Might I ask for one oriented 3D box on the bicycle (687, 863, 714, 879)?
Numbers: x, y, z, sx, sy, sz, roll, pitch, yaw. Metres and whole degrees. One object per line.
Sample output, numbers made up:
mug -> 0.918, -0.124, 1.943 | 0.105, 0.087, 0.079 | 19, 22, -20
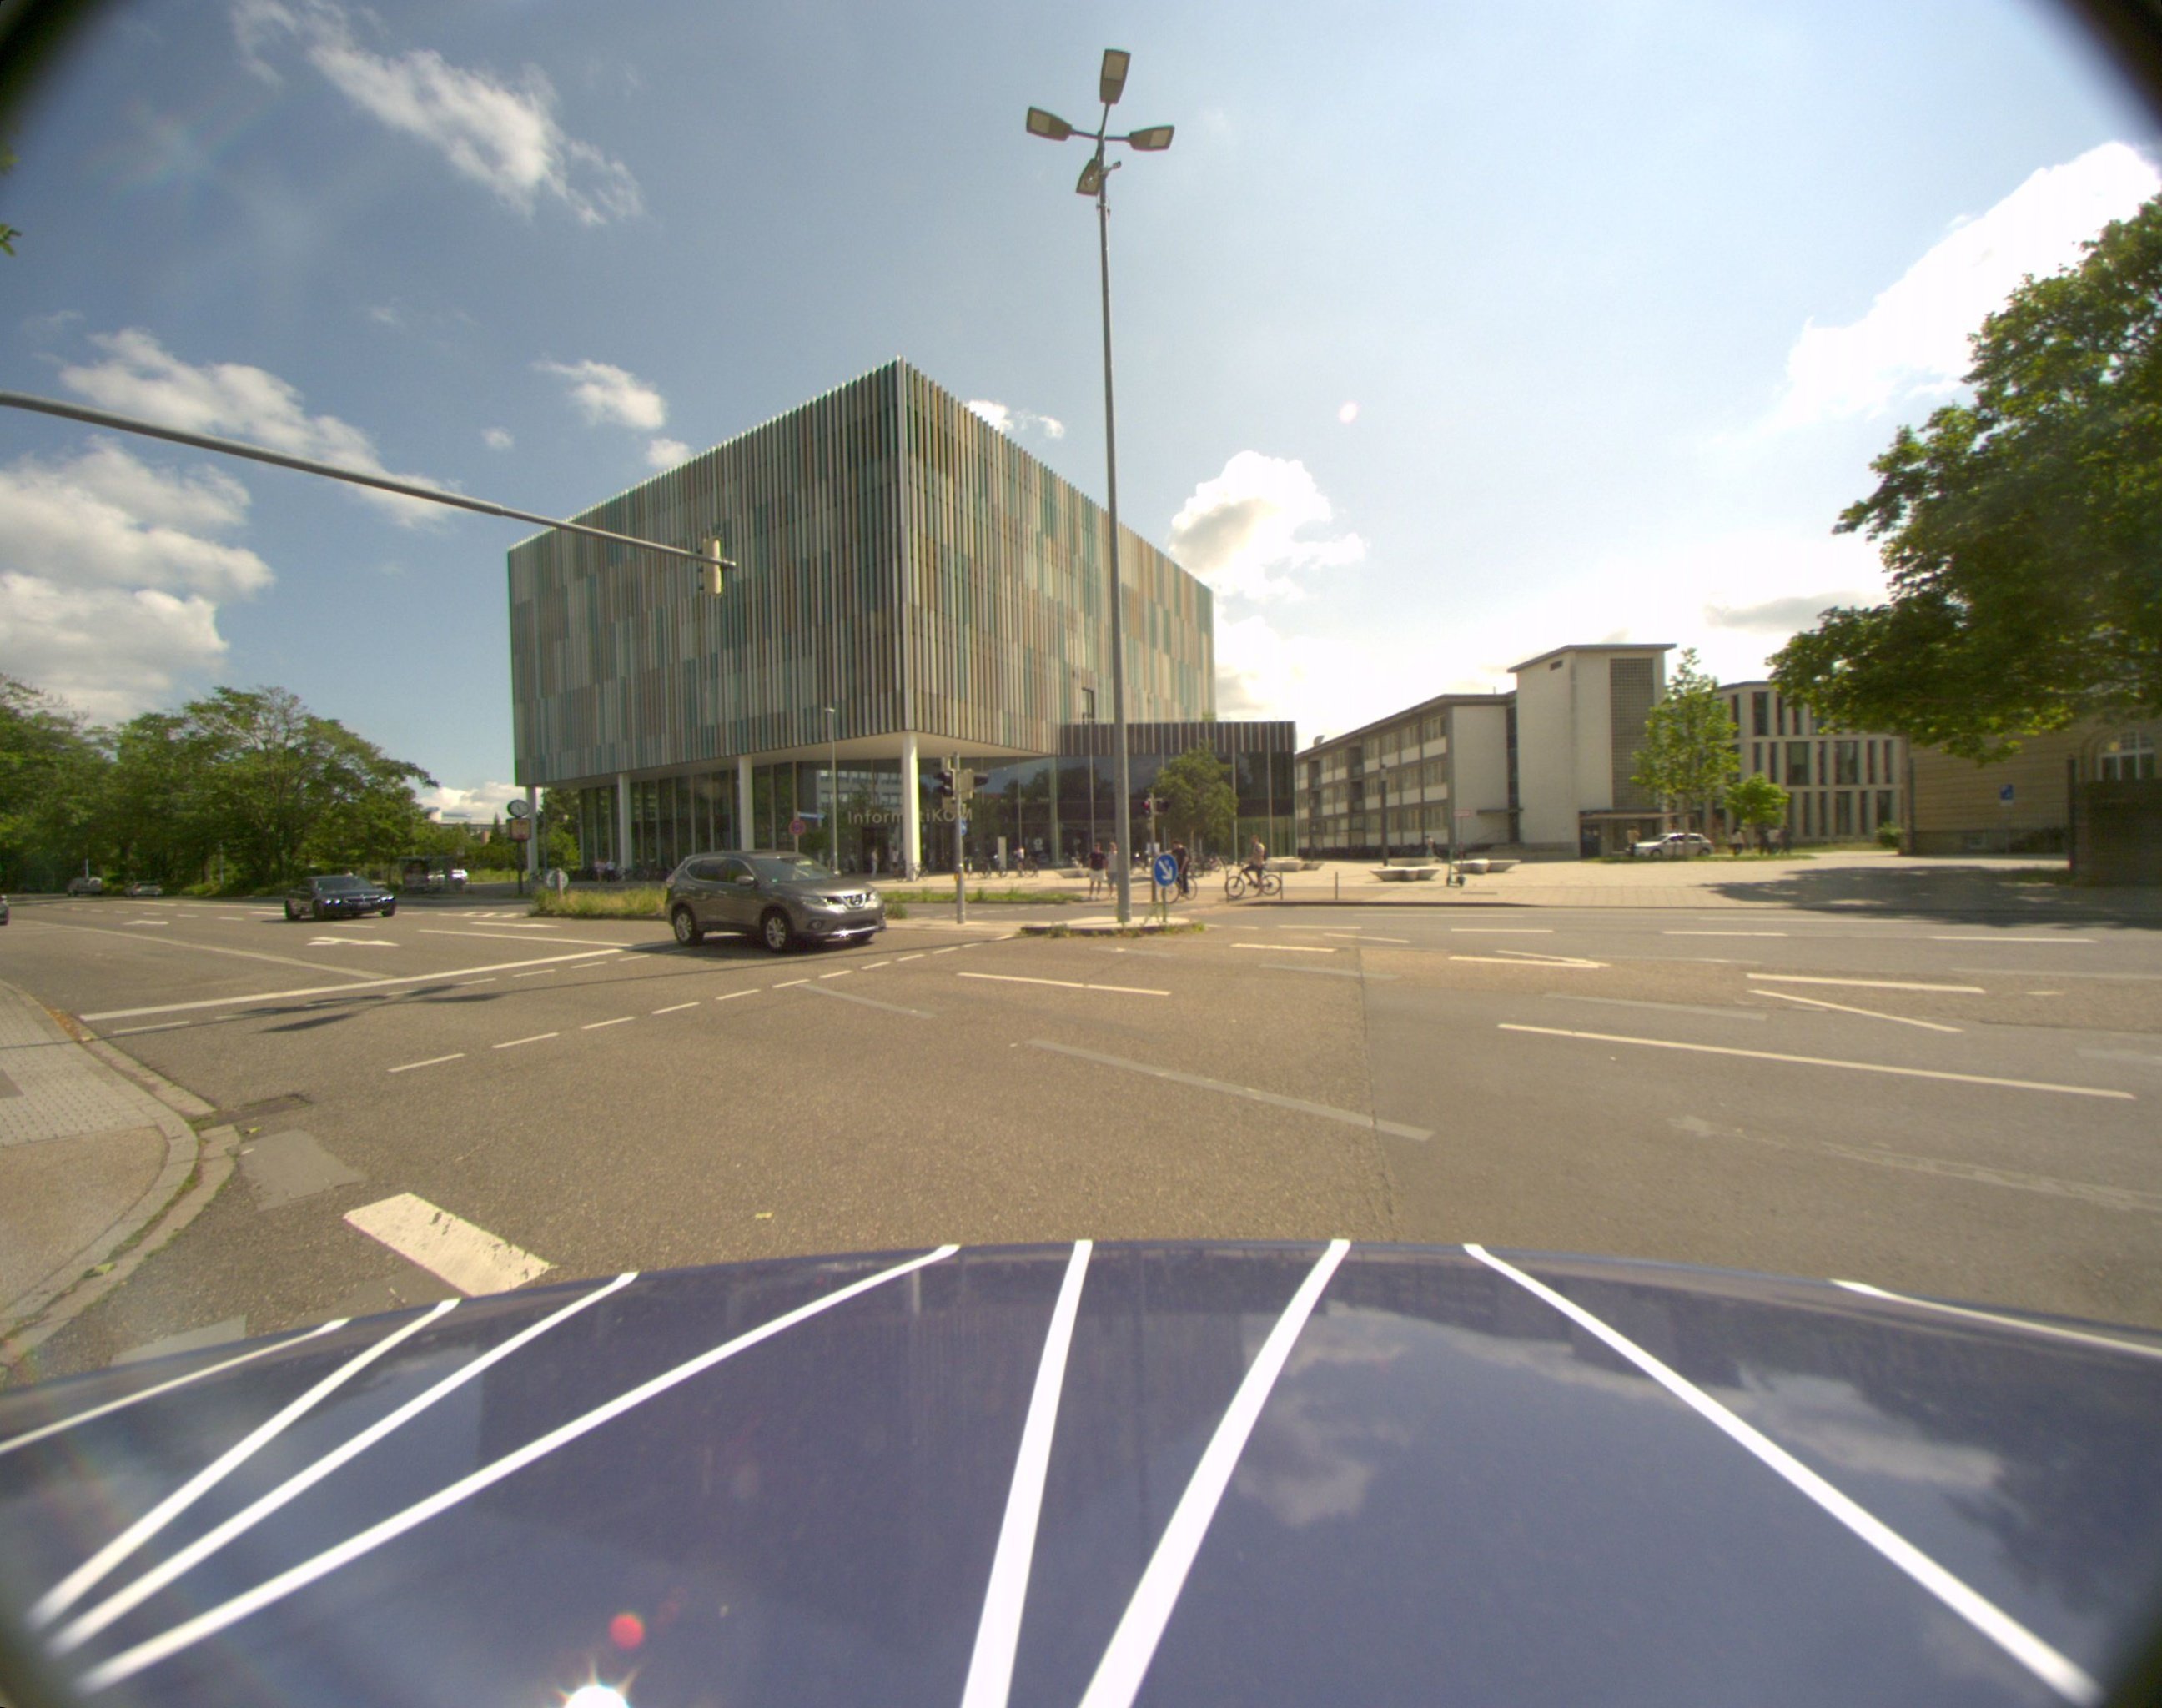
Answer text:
bicycle -> -26.173, 1.156, 52.250 | 1.549, 0.950, 0.372 | -4, 3, -44

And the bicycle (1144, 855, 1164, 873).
bicycle -> 4.100, 0.545, 42.853 | 0.529, 0.950, 1.771 | -2, 1, -15

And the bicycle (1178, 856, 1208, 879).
bicycle -> 5.039, 0.595, 34.204 | 0.529, 0.950, 1.770 | -2, 1, -21

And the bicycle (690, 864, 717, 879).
bicycle -> -25.695, 1.202, 51.778 | 1.549, 0.950, 0.372 | -4, 3, -44

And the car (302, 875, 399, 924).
car -> -24.403, 1.463, 25.341 | 4.179, 1.408, 1.834 | -1, 1, 40

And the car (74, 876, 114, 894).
car -> -105.317, 3.350, 81.076 | 4.719, 1.801, 1.907 | -1, 0, 29

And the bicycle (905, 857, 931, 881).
bicycle -> -8.780, 0.804, 40.934 | 0.372, 1.180, 1.549 | 0, 3, 30

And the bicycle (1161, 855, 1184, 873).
bicycle -> 5.130, 0.572, 42.649 | 0.529, 0.950, 1.770 | -2, 1, -21

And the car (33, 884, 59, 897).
car -> -136.202, 4.786, 99.978 | 3.817, 1.503, 1.903 | -1, 3, 37

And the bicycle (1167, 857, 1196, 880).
bicycle -> 4.481, 0.629, 33.996 | 0.529, 0.950, 1.770 | -2, 1, -21

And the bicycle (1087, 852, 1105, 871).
bicycle -> 0.814, 0.412, 42.197 | 0.529, 0.950, 1.771 | -5, 2, -12

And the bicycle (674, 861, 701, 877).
bicycle -> -27.289, 1.040, 52.709 | 1.549, 0.950, 0.372 | -4, 3, -44

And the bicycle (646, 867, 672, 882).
bicycle -> -30.125, 1.471, 54.212 | 1.549, 0.950, 0.372 | -4, 3, -44

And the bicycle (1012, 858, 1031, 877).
bicycle -> -3.269, 0.719, 41.987 | 0.528, 0.950, 1.774 | -1, 1, 11

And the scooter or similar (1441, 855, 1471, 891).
scooter or similar -> 11.565, 0.563, 23.463 | 0.402, 1.060, 1.151 | -2, 1, 4

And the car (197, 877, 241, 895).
car -> -74.444, 2.743, 65.611 | 3.989, 1.412, 2.004 | -1, 1, 35

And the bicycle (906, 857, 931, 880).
bicycle -> -8.802, 0.776, 41.268 | 0.372, 1.181, 1.549 | 0, 3, 30

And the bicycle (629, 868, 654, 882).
bicycle -> -32.333, 1.557, 55.914 | 1.549, 0.950, 0.372 | -4, 3, -44

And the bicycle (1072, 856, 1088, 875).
bicycle -> -0.055, 0.642, 42.003 | 0.529, 0.950, 1.771 | -2, 2, -12

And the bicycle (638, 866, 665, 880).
bicycle -> -31.046, 1.374, 54.941 | 1.549, 0.950, 0.372 | -4, 3, -44

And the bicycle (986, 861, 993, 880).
bicycle -> -5.069, 0.896, 42.032 | 0.373, 0.950, 1.772 | -2, 1, -7

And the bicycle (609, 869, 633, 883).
bicycle -> -33.596, 1.589, 55.448 | 0.373, 0.950, 1.548 | -2, 2, 20

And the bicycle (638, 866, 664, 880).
bicycle -> -31.286, 1.364, 55.293 | 1.549, 0.950, 0.372 | -4, 3, -44

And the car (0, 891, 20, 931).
car -> -42.485, 2.208, 29.051 | 4.929, 1.469, 1.866 | -2, -2, 31

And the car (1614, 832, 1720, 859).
car -> 33.107, -0.495, 43.022 | 4.491, 1.299, 1.999 | -2, 2, -1

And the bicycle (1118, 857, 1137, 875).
bicycle -> 2.617, 0.665, 42.893 | 0.529, 0.950, 1.771 | -2, 1, -15

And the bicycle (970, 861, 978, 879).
bicycle -> -5.879, 0.863, 41.692 | 0.373, 0.950, 1.545 | -2, 1, -7

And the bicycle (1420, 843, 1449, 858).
bicycle -> 24.522, -0.232, 52.698 | 1.771, 0.950, 0.529 | -1, 3, 5

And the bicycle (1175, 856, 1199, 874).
bicycle -> 5.946, 0.601, 42.544 | 0.529, 0.950, 1.770 | -2, 1, -21

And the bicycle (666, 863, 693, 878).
bicycle -> -27.895, 1.157, 52.792 | 1.549, 0.950, 0.372 | -4, 3, -44

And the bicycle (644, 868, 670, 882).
bicycle -> -30.508, 1.506, 54.725 | 1.549, 0.950, 0.372 | -4, 3, -44

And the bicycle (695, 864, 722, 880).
bicycle -> -25.209, 1.194, 51.438 | 1.549, 0.950, 0.372 | -4, 3, -44

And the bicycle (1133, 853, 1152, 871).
bicycle -> 3.446, 0.451, 42.766 | 0.529, 0.950, 1.771 | -2, 1, -15

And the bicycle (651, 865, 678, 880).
bicycle -> -29.513, 1.333, 53.826 | 1.549, 0.950, 0.372 | -4, 3, -44

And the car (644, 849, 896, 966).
car -> -5.520, 0.859, 13.282 | 4.466, 1.669, 1.828 | -2, 2, 34

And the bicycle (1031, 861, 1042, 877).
bicycle -> -2.454, 0.821, 41.917 | 0.529, 0.760, 1.773 | -2, 1, -1

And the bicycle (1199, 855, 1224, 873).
bicycle -> 7.323, 0.562, 42.562 | 0.529, 0.950, 1.770 | -2, 1, -21

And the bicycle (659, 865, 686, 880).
bicycle -> -28.575, 1.305, 53.117 | 1.549, 0.950, 0.372 | -4, 3, -44
